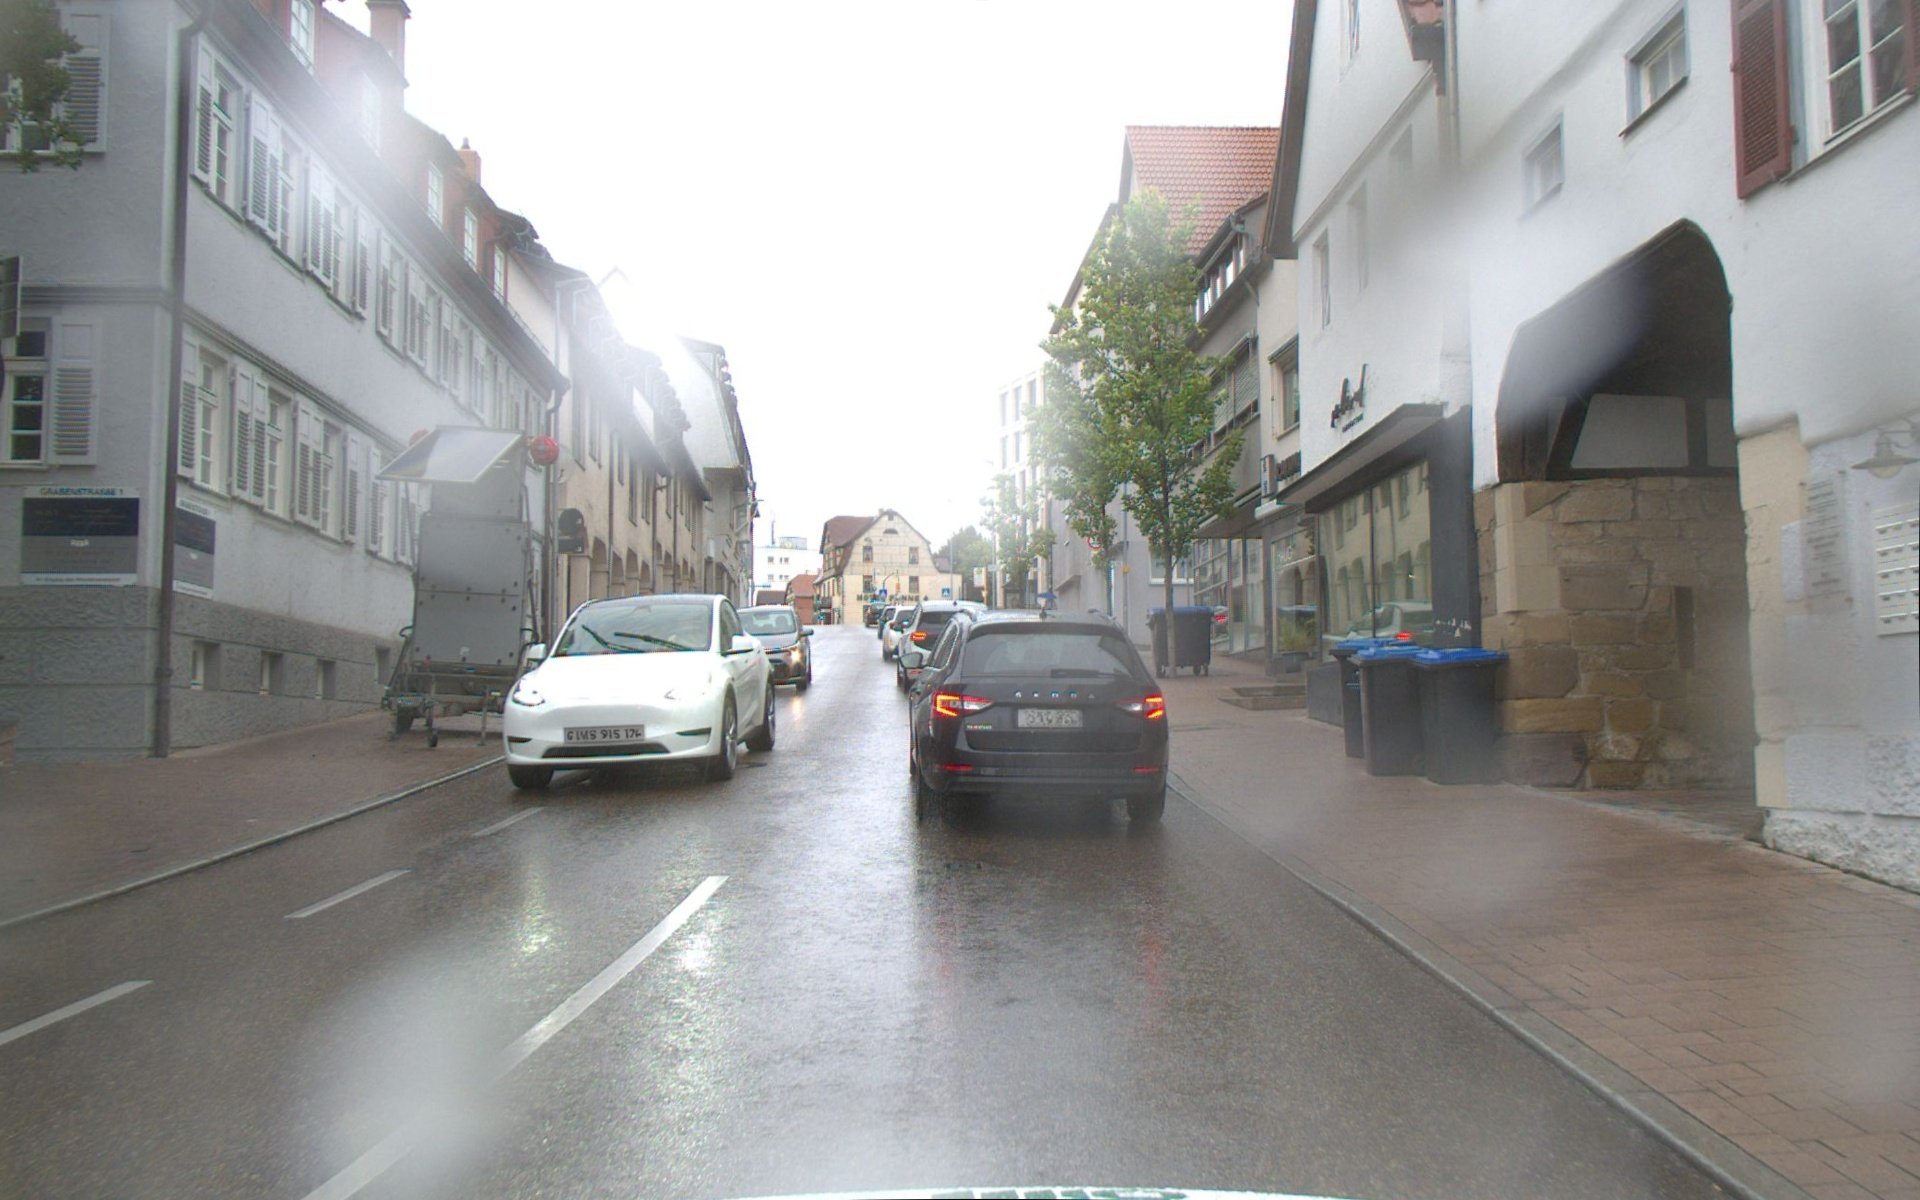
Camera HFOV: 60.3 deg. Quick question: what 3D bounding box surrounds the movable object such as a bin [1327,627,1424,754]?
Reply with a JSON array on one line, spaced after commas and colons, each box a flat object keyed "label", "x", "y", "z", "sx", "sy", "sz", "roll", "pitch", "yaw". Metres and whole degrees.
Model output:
[{"label": "movable object such as a bin", "x": 3.803, "y": 0.820, "z": 15.177, "sx": 0.646, "sy": 1.081, "sz": 0.614, "roll": -5, "pitch": 0, "yaw": 0}]

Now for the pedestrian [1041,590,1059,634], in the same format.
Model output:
[{"label": "pedestrian", "x": 3.610, "y": 0.474, "z": 66.361, "sx": 0.690, "sy": 1.755, "sz": 0.832, "roll": 1, "pitch": 0, "yaw": 0}]

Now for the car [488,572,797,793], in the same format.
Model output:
[{"label": "car", "x": -2.801, "y": 0.682, "z": 15.605, "sx": 1.835, "sy": 1.691, "sz": 4.309, "roll": -3, "pitch": 0, "yaw": 2}]

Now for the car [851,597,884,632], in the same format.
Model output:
[{"label": "car", "x": -5.655, "y": 0.877, "z": 101.036, "sx": 1.953, "sy": 2.049, "sz": 3.998, "roll": 0, "pitch": 0, "yaw": -3}]

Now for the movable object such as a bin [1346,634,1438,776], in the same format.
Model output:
[{"label": "movable object such as a bin", "x": 3.696, "y": 0.883, "z": 14.195, "sx": 0.556, "sy": 1.127, "sz": 0.676, "roll": -4, "pitch": 1, "yaw": 1}]

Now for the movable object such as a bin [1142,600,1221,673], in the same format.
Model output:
[{"label": "movable object such as a bin", "x": 4.285, "y": 0.728, "z": 32.190, "sx": 1.261, "sy": 1.373, "sz": 1.486, "roll": 0, "pitch": -3, "yaw": -3}]

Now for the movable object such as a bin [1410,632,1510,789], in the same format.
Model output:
[{"label": "movable object such as a bin", "x": 4.094, "y": 0.894, "z": 13.573, "sx": 0.612, "sy": 1.226, "sz": 0.605, "roll": 0, "pitch": 2, "yaw": -4}]

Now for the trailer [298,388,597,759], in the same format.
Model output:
[{"label": "trailer", "x": -5.499, "y": -0.260, "z": 18.433, "sx": 1.953, "sy": 3.595, "sz": 4.573, "roll": 1, "pitch": 0, "yaw": -1}]

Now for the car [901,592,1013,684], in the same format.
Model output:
[{"label": "car", "x": -0.013, "y": 0.718, "z": 29.034, "sx": 1.818, "sy": 1.499, "sz": 4.000, "roll": 0, "pitch": -3, "yaw": 1}]

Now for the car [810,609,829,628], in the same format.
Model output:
[{"label": "car", "x": -12.215, "y": 1.578, "z": 143.507, "sx": 1.595, "sy": 1.557, "sz": 3.996, "roll": 1, "pitch": 0, "yaw": -5}]

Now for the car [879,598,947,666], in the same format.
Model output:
[{"label": "car", "x": -1.306, "y": 0.902, "z": 44.451, "sx": 1.595, "sy": 1.557, "sz": 3.995, "roll": 0, "pitch": -5, "yaw": -5}]

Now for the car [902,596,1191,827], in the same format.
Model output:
[{"label": "car", "x": 0.553, "y": 0.720, "z": 12.776, "sx": 1.848, "sy": 1.473, "sz": 4.356, "roll": 0, "pitch": 0, "yaw": 0}]

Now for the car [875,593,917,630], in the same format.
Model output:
[{"label": "car", "x": -2.866, "y": 0.484, "z": 73.749, "sx": 1.670, "sy": 1.579, "sz": 3.602, "roll": 1, "pitch": 0, "yaw": -5}]

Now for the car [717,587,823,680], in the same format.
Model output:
[{"label": "car", "x": -3.399, "y": 0.659, "z": 30.163, "sx": 1.738, "sy": 1.561, "sz": 3.706, "roll": 0, "pitch": -3, "yaw": -4}]
